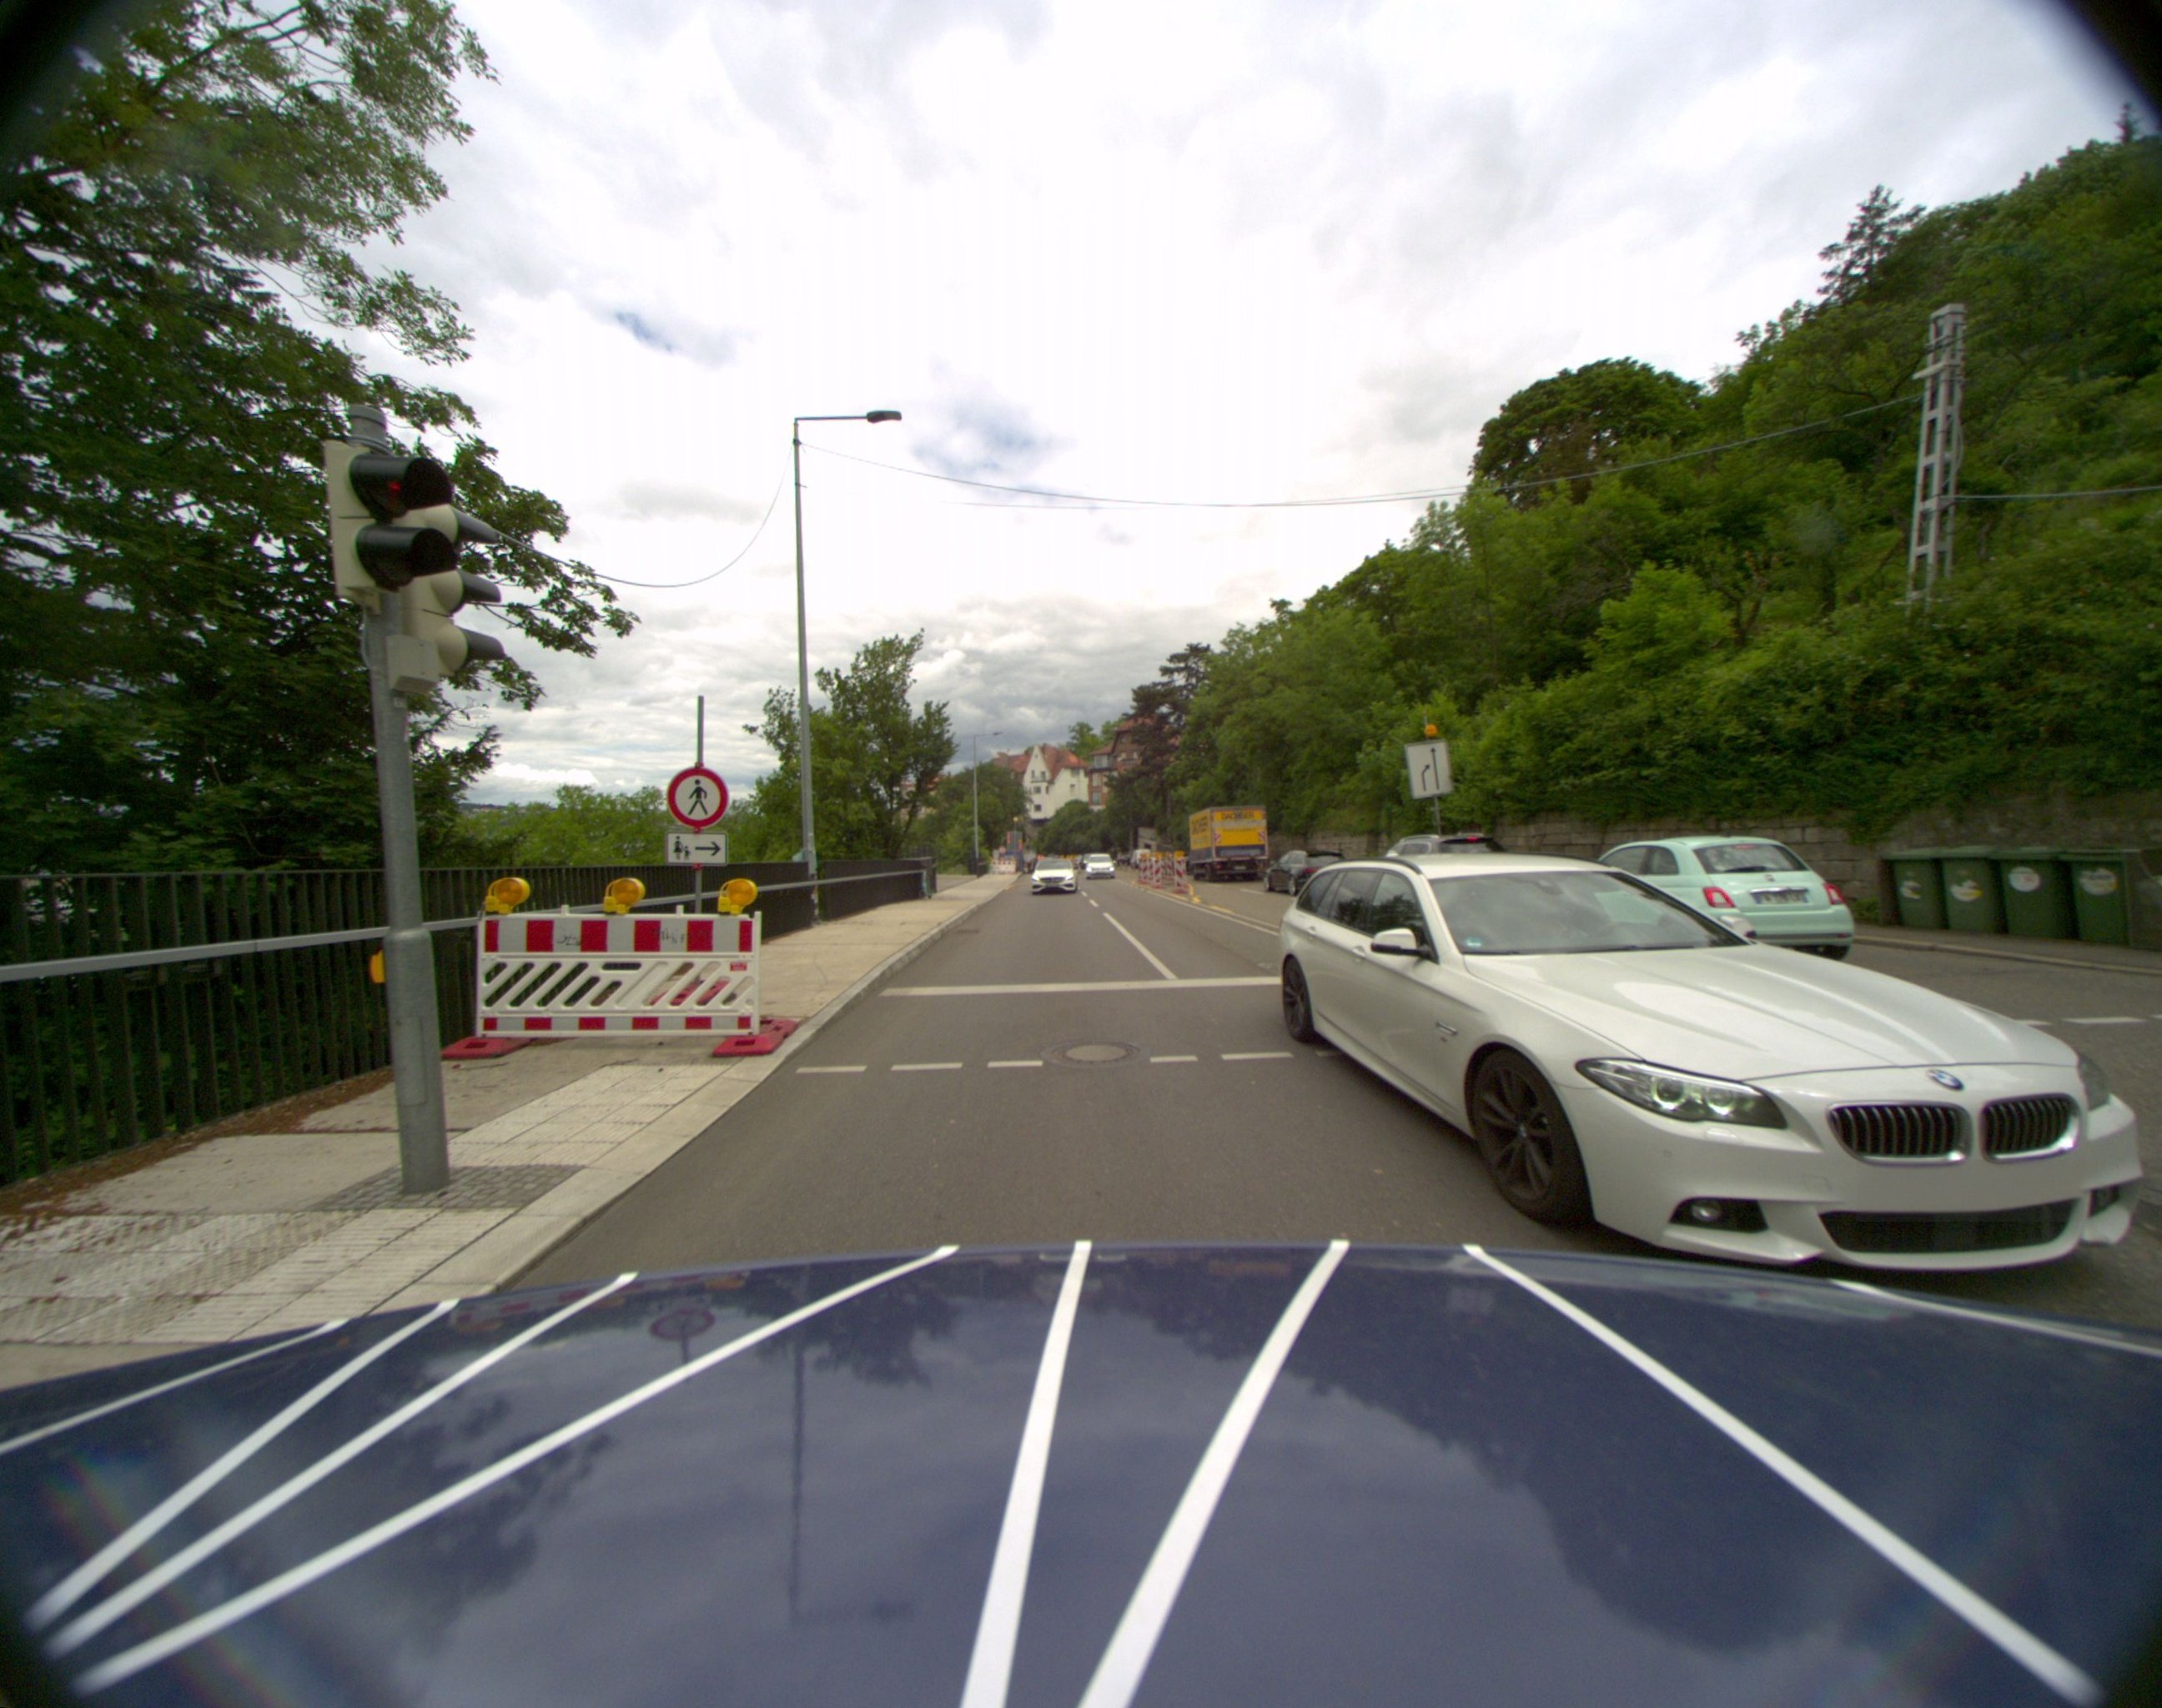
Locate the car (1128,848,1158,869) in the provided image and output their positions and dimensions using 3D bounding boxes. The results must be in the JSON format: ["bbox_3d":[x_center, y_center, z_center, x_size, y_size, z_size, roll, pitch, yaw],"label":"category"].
[{"bbox_3d":[5.750,0.384,71.328,1.808,1.780,4.338,-3,1,-8],"label":"car"}]

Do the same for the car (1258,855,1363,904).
[{"bbox_3d":[7.520,0.784,25.425,1.814,1.421,4.873,-2,0,-2],"label":"car"}]

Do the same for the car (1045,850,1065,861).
[{"bbox_3d":[-4.375,0.291,127.083,1.771,1.587,3.783,-7,2,-26],"label":"car"}]

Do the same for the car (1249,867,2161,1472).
[{"bbox_3d":[2.561,0.904,4.534,1.853,1.458,4.877,-3,0,-2],"label":"car"}]

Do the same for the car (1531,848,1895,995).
[{"bbox_3d":[7.646,0.706,9.732,1.715,1.458,3.661,-3,0,4],"label":"car"}]

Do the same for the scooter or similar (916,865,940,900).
[{"bbox_3d":[-5.561,1.026,27.624,0.535,1.219,1.207,0,0,4],"label":"scooter or similar"}]

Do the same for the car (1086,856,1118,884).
[{"bbox_3d":[1.275,0.973,48.428,1.886,1.569,3.999,-3,1,0],"label":"car"}]

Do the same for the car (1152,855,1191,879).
[{"bbox_3d":[6.010,0.830,50.854,1.775,1.433,4.744,-3,0,-3],"label":"car"}]

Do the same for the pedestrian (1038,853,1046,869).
[{"bbox_3d":[-4.682,0.859,90.510,0.620,1.873,0.717,1,-3,-43],"label":"pedestrian"}]

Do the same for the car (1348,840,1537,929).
[{"bbox_3d":[7.973,0.610,17.369,1.888,1.687,4.670,-2,0,-2],"label":"car"}]

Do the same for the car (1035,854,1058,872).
[{"bbox_3d":[-2.928,0.726,65.049,1.845,1.446,4.626,-2,0,-2],"label":"car"}]

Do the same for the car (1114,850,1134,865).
[{"bbox_3d":[4.881,0.418,86.649,1.836,1.583,4.653,-3,1,-2],"label":"car"}]

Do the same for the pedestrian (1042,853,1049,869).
[{"bbox_3d":[-4.106,0.790,88.388,0.640,1.848,0.834,1,0,-14],"label":"pedestrian"}]

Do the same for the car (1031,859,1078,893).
[{"bbox_3d":[-1.070,0.886,32.068,1.798,1.299,4.100,-1,0,0],"label":"car"}]

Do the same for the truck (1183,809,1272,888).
[{"bbox_3d":[7.158,-0.265,38.183,2.738,3.490,7.348,-2,1,-2],"label":"truck"}]
